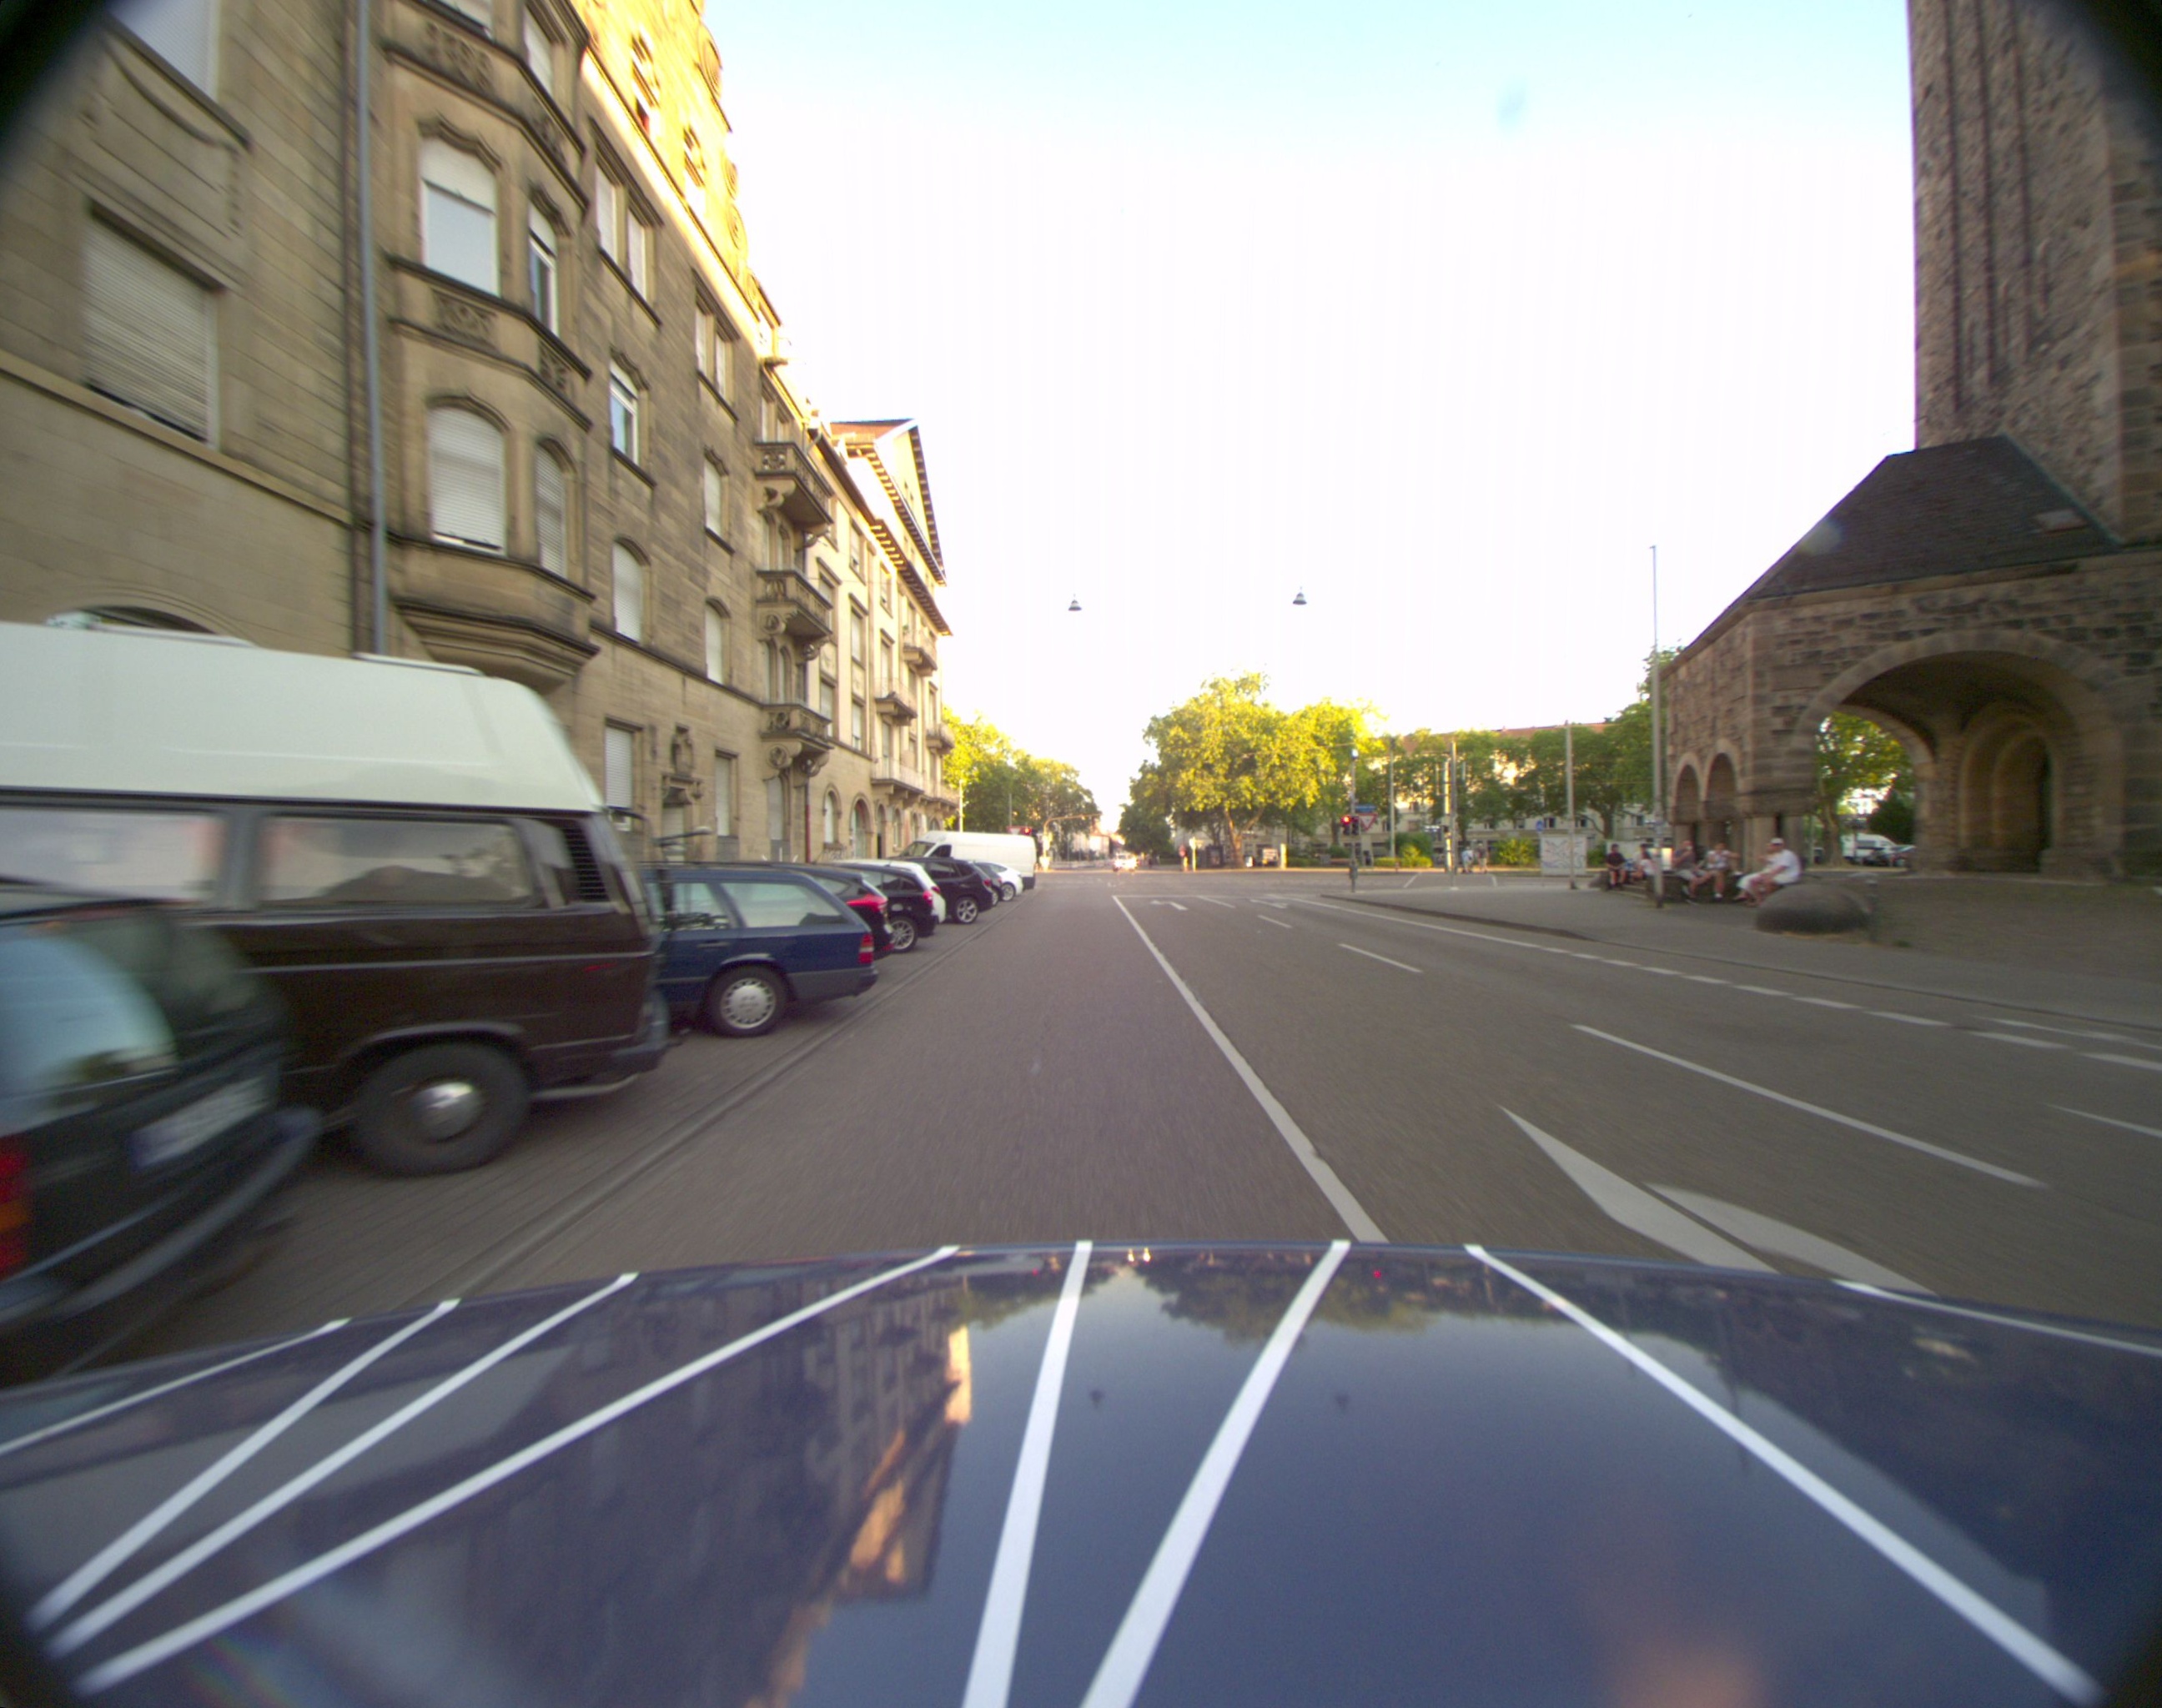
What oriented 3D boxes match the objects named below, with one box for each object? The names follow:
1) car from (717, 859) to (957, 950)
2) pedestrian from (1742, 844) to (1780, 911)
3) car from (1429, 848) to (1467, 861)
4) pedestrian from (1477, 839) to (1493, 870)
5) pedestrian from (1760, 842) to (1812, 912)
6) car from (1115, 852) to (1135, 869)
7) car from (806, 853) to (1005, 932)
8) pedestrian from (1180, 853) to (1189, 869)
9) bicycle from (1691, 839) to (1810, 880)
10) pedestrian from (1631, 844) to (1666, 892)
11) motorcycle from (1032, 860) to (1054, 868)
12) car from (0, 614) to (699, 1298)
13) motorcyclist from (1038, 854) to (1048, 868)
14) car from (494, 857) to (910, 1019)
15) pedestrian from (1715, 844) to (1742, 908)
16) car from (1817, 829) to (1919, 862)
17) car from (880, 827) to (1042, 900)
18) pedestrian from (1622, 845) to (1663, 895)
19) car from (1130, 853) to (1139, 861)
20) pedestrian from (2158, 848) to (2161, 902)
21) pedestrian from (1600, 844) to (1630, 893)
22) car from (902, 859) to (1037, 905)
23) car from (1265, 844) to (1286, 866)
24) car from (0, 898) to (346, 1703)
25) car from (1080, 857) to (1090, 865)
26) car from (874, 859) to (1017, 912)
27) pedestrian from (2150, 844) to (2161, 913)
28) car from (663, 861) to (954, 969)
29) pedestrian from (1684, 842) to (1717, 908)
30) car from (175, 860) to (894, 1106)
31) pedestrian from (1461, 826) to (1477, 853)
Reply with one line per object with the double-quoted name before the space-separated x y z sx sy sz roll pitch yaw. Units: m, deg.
"car" -4.642 0.899 14.670 4.066 1.489 1.749 1 1 -35
"pedestrian" 14.472 0.488 16.179 0.546 1.398 0.459 0 1 36
"car" 46.084 0.063 95.444 3.989 1.696 2.004 0 0 34
"pedestrian" 24.343 0.026 45.820 0.709 1.836 1.161 -1 0 21
"pedestrian" 14.337 0.452 15.478 0.702 1.398 0.633 0 1 36
"car" 4.055 0.581 69.540 1.840 1.549 4.001 -1 0 4
"car" -4.036 0.843 17.743 4.107 1.598 1.811 1 1 -37
"pedestrian" 10.616 0.760 77.700 0.745 1.619 0.660 -1 0 18
"bicycle" 17.413 0.147 19.831 2.281 1.051 0.596 -1 1 18
"pedestrian" 16.668 0.397 22.329 0.801 1.366 0.701 0 1 34
"motorcycle" -4.174 1.079 82.779 2.288 0.917 0.621 -1 0 -25
"car" -4.517 0.377 3.613 4.732 2.532 1.914 -1 1 -28
"motorcyclist" -4.161 0.714 82.789 0.830 1.510 0.621 -1 1 -25
"car" -4.377 0.851 9.273 4.128 1.537 1.790 0 2 -27
"pedestrian" 14.362 0.475 16.856 0.401 1.398 0.549 0 1 36
"car" 65.415 -0.697 63.320 5.566 2.603 2.003 -1 0 24
"car" -4.566 0.320 29.538 5.897 2.537 2.189 0 2 -40
"pedestrian" 16.029 0.446 21.693 0.700 1.366 0.801 -1 1 -38
"car" 10.746 0.679 152.984 1.827 1.565 4.001 -1 0 5
"pedestrian" 18.677 0.352 12.698 0.649 0.910 0.738 -1 1 -39
"pedestrian" 15.991 0.421 22.768 0.628 1.445 0.917 0 1 27
"car" -3.882 0.935 26.816 4.263 1.445 1.994 1 1 -38
"car" 18.765 0.101 73.090 1.865 2.002 3.815 0 0 16
"car" -4.373 0.940 1.095 4.363 1.494 1.909 -1 0 -27
"car" 0.763 1.382 159.231 1.794 1.571 4.001 -1 0 4
"car" -4.187 0.933 23.672 3.925 1.438 1.869 1 2 -39
"pedestrian" 17.697 0.384 11.735 0.686 1.088 1.329 -1 1 -39
"car" -4.315 0.888 12.204 4.042 1.423 1.863 2 0 -33
"pedestrian" 13.912 0.463 17.078 0.549 1.445 0.559 0 1 36
"car" -4.066 0.859 6.541 4.406 1.478 1.839 2 0 -30
"pedestrian" 23.679 -0.866 46.385 0.718 1.624 1.008 -1 0 21
